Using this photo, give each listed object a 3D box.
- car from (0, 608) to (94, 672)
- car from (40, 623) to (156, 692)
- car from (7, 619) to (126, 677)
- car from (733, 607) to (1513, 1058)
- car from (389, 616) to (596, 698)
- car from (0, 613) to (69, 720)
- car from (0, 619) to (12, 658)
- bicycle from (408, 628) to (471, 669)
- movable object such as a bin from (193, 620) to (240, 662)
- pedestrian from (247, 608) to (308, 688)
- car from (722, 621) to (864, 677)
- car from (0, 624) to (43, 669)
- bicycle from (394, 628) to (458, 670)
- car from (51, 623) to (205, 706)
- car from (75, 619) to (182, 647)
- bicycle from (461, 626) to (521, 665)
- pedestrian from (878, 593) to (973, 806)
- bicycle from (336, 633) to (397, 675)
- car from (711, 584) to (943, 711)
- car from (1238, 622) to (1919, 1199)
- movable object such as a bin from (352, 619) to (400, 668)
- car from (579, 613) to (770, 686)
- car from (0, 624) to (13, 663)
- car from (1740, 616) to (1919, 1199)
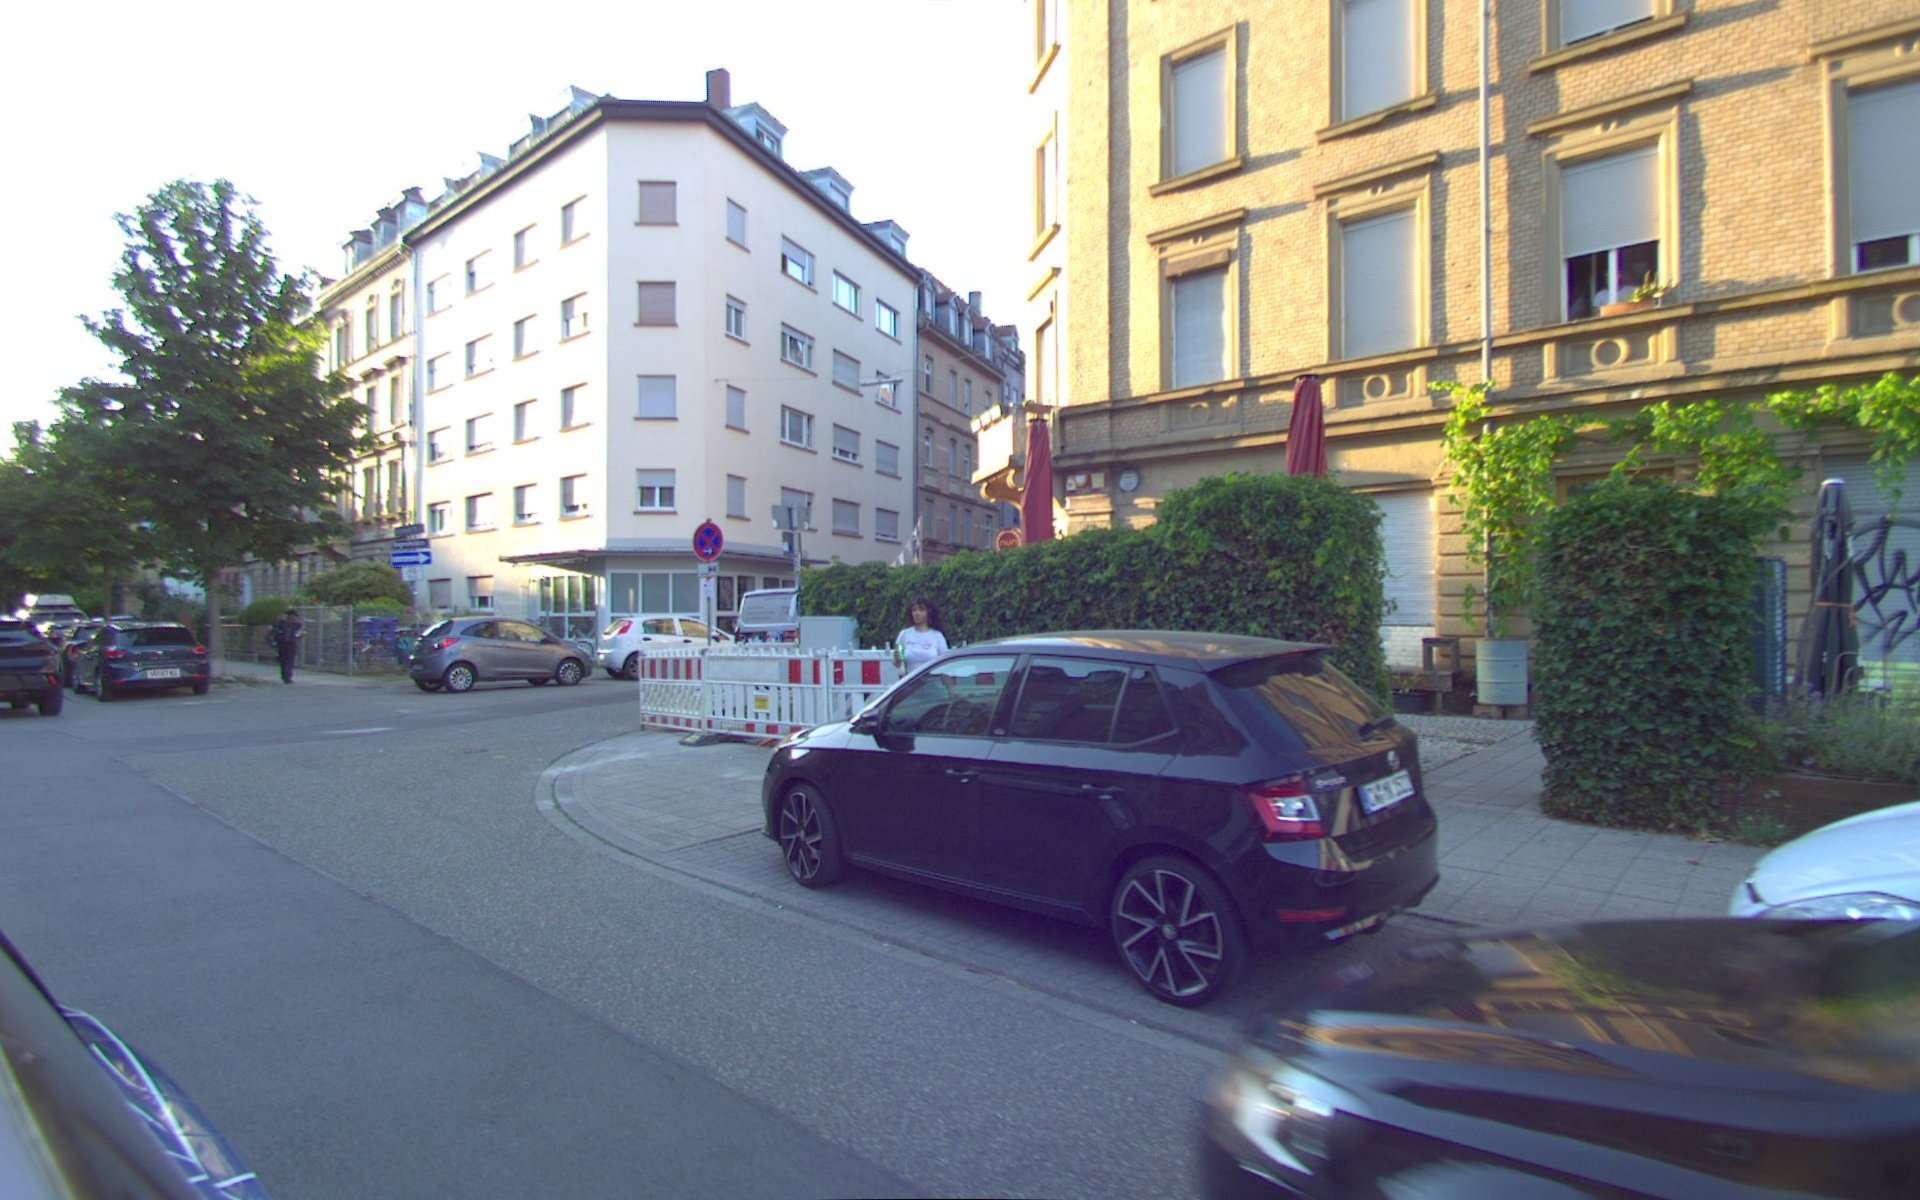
[{"bbox_3d":[-27.807,1.163,30.583,4.621,1.792,1.842,-1,-1,41],"label":"car"},{"bbox_3d":[-20.281,1.274,23.751,4.144,1.431,1.722,-1,-1,45],"label":"car"},{"bbox_3d":[-24.095,1.231,27.222,4.588,1.423,1.842,-1,-1,41],"label":"car"},{"bbox_3d":[0.610,0.831,5.426,3.844,1.546,1.685,-1,-1,43],"label":"car"},{"bbox_3d":[-9.641,1.118,21.029,1.844,1.519,3.470,-2,-2,41],"label":"car"},{"bbox_3d":[-15.336,0.963,15.596,3.996,1.529,1.762,-1,-2,39],"label":"car"},{"bbox_3d":[-42.962,1.665,44.313,4.021,1.675,1.841,-1,-1,43],"label":"car"},{"bbox_3d":[-14.677,1.367,28.534,1.529,1.100,0.500,-1,0,5],"label":"bicycle"},{"bbox_3d":[-25.800,1.402,35.121,1.549,1.398,0.936,-1,0,39],"label":"movable object such as a bin"},{"bbox_3d":[-15.289,1.052,22.693,0.876,1.735,0.962,-1,0,-18],"label":"pedestrian"},{"bbox_3d":[-4.569,1.321,28.287,1.987,1.450,4.044,-1,-2,25],"label":"car"},{"bbox_3d":[-32.703,1.565,34.461,4.021,1.452,1.710,-1,-1,40],"label":"car"},{"bbox_3d":[-14.768,1.348,28.022,1.529,1.100,0.500,-1,0,5],"label":"bicycle"},{"bbox_3d":[-16.819,1.213,20.385,4.460,1.472,1.657,-1,-1,40],"label":"car"},{"bbox_3d":[-45.405,1.775,55.348,1.625,1.351,4.354,-1,-1,43],"label":"car"},{"bbox_3d":[-14.343,1.371,30.985,0.500,1.100,1.616,-1,0,36],"label":"bicycle"},{"bbox_3d":[-0.265,0.766,8.200,0.702,1.630,0.786,-1,0,1],"label":"pedestrian"},{"bbox_3d":[-15.745,1.423,26.824,1.928,1.033,0.680,-1,0,37],"label":"bicycle"},{"bbox_3d":[-2.239,0.814,18.803,2.191,1.990,5.261,-1,-1,19],"label":"car"},{"bbox_3d":[2.383,0.784,0.759,1.632,1.466,3.946,4,-4,-42],"label":"car"},{"bbox_3d":[-17.117,1.246,29.650,1.399,1.362,0.857,-1,0,44],"label":"movable object such as a bin"},{"bbox_3d":[-6.895,1.135,24.565,4.006,1.520,1.978,-1,0,-36],"label":"car"},{"bbox_3d":[-39.391,1.738,40.742,3.626,1.510,1.659,-1,-1,44],"label":"car"},{"bbox_3d":[4.166,0.812,2.073,4.013,1.542,1.634,-1,-1,40],"label":"car"}]
